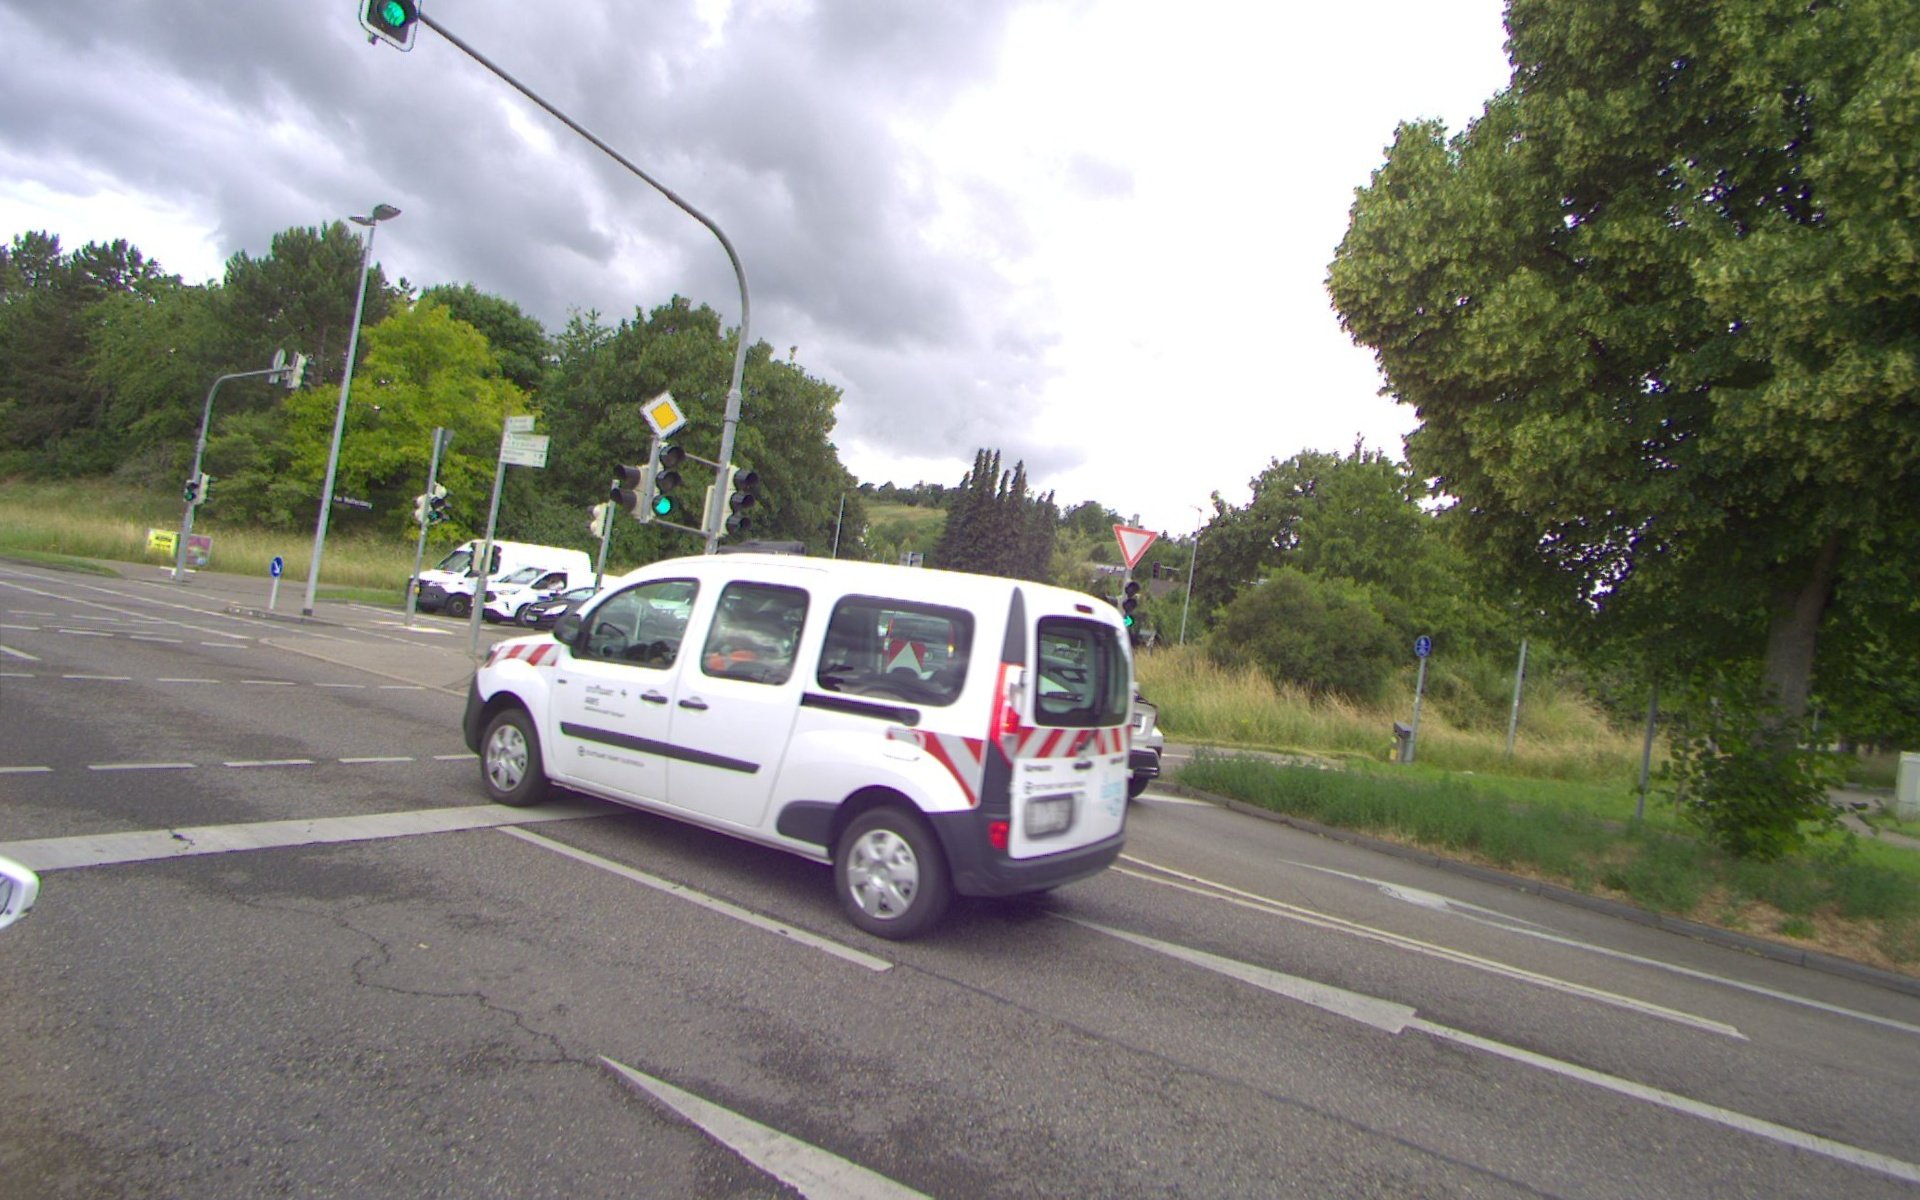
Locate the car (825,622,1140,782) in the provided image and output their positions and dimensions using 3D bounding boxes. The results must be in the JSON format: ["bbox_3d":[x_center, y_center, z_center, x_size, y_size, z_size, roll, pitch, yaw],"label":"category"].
[{"bbox_3d":[0.208,1.404,14.516,4.247,1.550,1.781,6,-5,43],"label":"car"}]

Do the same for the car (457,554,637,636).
[{"bbox_3d":[-12.935,-0.096,31.818,1.999,1.918,4.862,7,-1,31],"label":"car"}]

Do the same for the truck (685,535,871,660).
[{"bbox_3d":[-6.214,0.023,35.343,2.682,3.580,6.061,7,-1,32],"label":"truck"}]

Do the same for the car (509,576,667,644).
[{"bbox_3d":[-10.608,0.334,28.932,1.703,1.453,3.927,7,-1,31],"label":"car"}]

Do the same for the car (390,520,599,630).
[{"bbox_3d":[-15.338,-0.737,33.600,2.100,2.814,5.903,7,-1,32],"label":"car"}]

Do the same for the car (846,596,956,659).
[{"bbox_3d":[-3.009,1.527,52.963,2.160,2.640,6.509,7,-1,32],"label":"car"}]

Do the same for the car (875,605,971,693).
[{"bbox_3d":[-1.095,1.329,27.029,1.890,1.852,4.723,10,-4,-7],"label":"car"}]

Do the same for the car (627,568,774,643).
[{"bbox_3d":[-10.428,0.289,40.907,2.100,2.316,5.709,7,-1,32],"label":"car"}]

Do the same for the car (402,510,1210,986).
[{"bbox_3d":[-1.141,0.602,6.360,4.760,1.823,1.997,6,-1,32],"label":"car"}]
